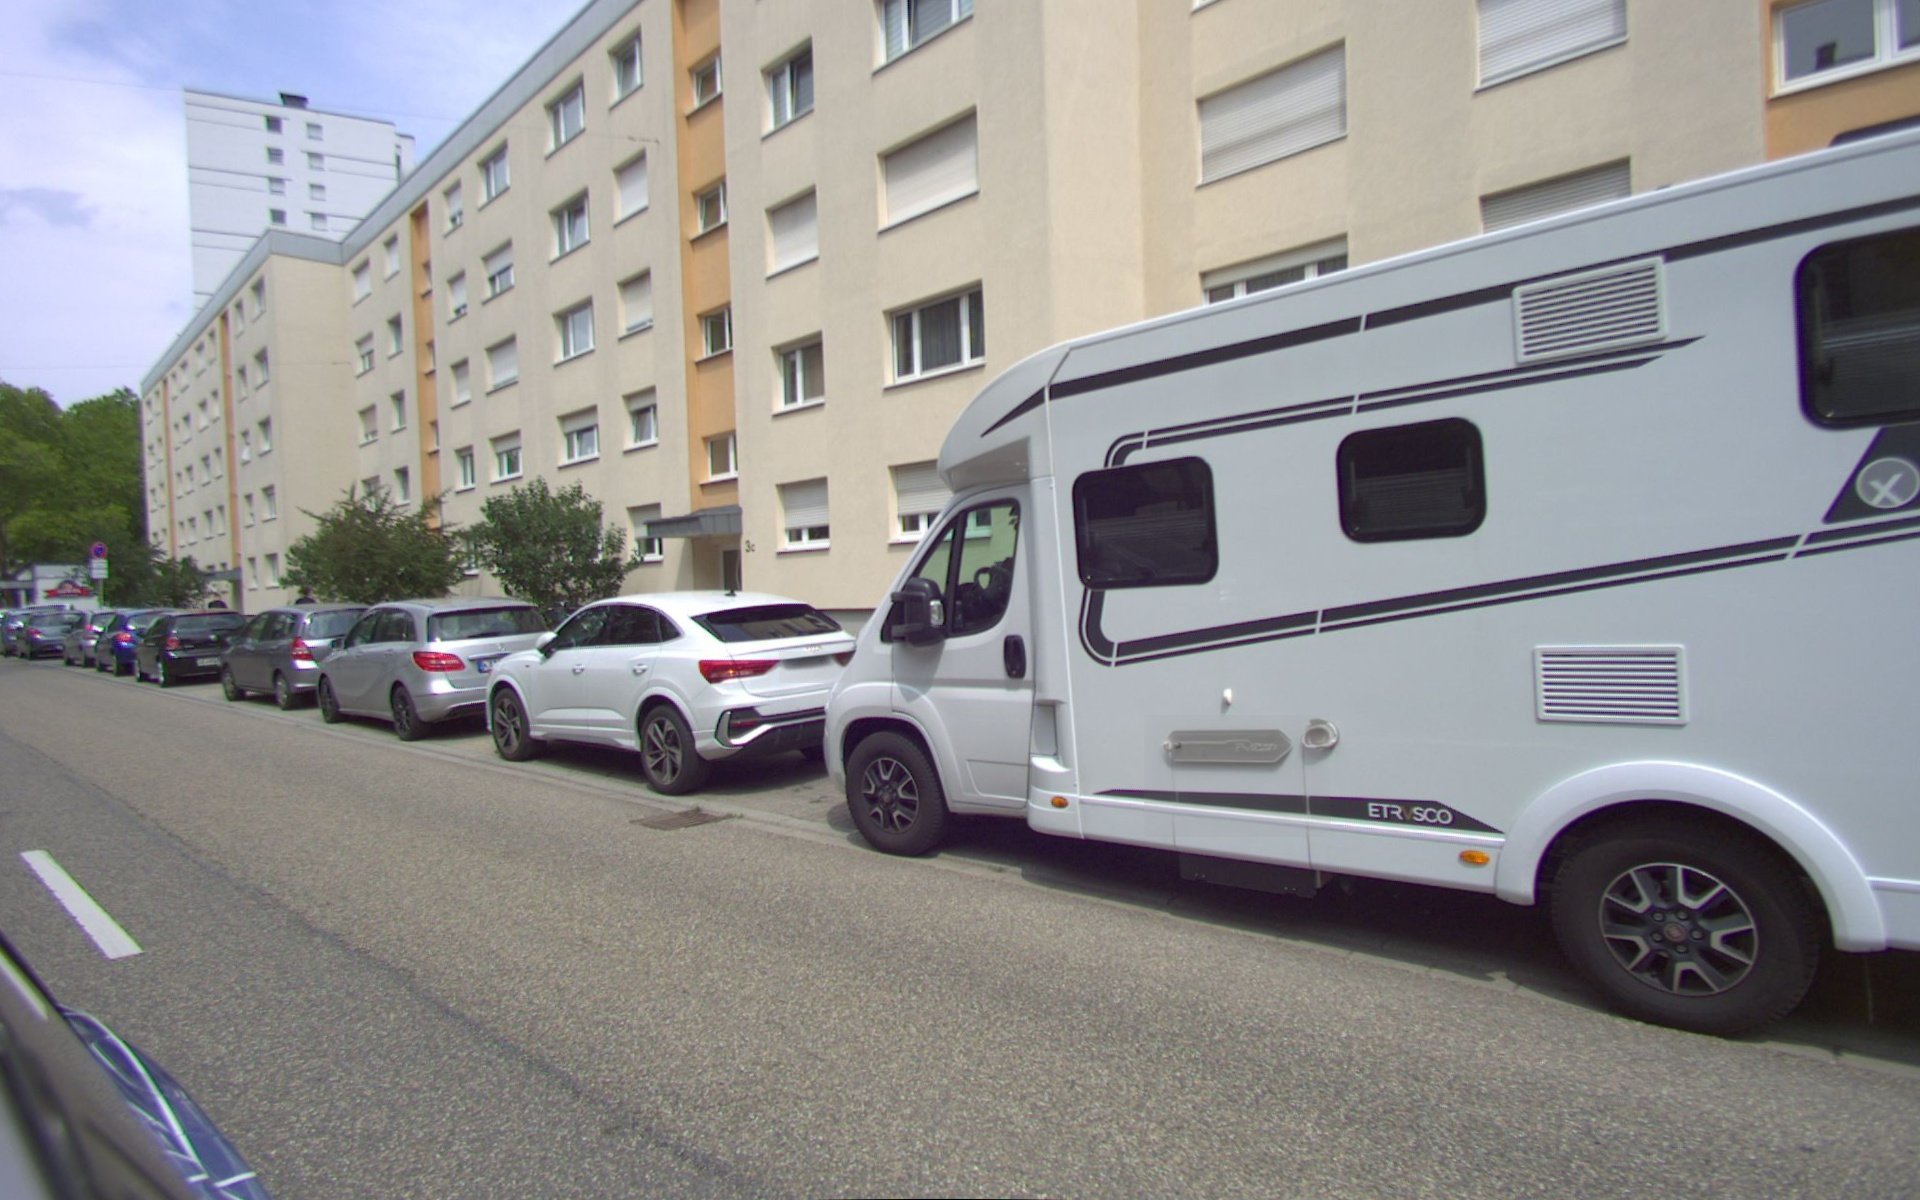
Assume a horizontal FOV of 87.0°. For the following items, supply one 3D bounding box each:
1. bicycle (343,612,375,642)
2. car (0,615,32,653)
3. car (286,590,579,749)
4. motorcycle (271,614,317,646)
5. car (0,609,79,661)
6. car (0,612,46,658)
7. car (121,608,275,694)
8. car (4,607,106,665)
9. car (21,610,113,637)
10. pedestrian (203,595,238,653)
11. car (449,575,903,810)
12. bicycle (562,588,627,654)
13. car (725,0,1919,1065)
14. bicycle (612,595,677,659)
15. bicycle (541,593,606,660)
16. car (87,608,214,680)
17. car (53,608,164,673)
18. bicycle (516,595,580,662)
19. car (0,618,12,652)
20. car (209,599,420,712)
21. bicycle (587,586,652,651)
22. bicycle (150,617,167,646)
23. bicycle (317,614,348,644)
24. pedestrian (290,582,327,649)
[{"bbox_3d":[-21.172,0.951,35.628,1.673,0.993,0.435,-1,2,41],"label":"bicycle"},{"bbox_3d":[-41.071,1.458,43.085,3.985,1.484,1.692,-1,2,40],"label":"car"},{"bbox_3d":[-6.782,0.761,12.766,4.567,1.591,1.736,-1,2,42],"label":"car"},{"bbox_3d":[-22.470,1.003,34.124,2.316,0.993,0.655,-1,2,41],"label":"motorcycle"},{"bbox_3d":[-33.062,1.211,36.102,4.861,1.624,1.921,-1,2,43],"label":"car"},{"bbox_3d":[-37.285,1.358,39.478,4.472,1.624,1.681,-1,2,39],"label":"car"},{"bbox_3d":[-15.824,0.993,20.943,4.116,1.494,1.799,-1,2,43],"label":"car"},{"bbox_3d":[-29.126,1.120,32.534,4.300,1.624,1.922,-1,2,42],"label":"car"},{"bbox_3d":[-60.163,1.555,68.243,4.576,1.699,1.851,-1,-1,-43],"label":"car"},{"bbox_3d":[-23.926,0.767,32.748,0.898,1.826,0.613,-1,2,39],"label":"pedestrian"},{"bbox_3d":[-2.778,0.679,9.227,4.591,1.591,1.671,-1,2,41],"label":"car"},{"bbox_3d":[-8.350,0.482,23.069,2.130,1.436,0.457,-3,0,44],"label":"bicycle"},{"bbox_3d":[2.215,-0.255,4.786,7.392,3.046,2.485,-1,2,41],"label":"car"},{"bbox_3d":[-7.448,0.648,23.830,2.130,1.436,0.457,-3,0,44],"label":"bicycle"},{"bbox_3d":[-8.674,0.603,22.641,2.130,1.423,0.457,-3,0,44],"label":"bicycle"},{"bbox_3d":[-19.526,1.012,24.355,3.885,1.494,1.798,-1,2,43],"label":"car"},{"bbox_3d":[-23.406,1.068,27.765,3.849,1.573,1.653,-1,2,40],"label":"car"},{"bbox_3d":[-9.054,0.631,22.196,0.457,1.404,2.131,-2,0,-45],"label":"bicycle"},{"bbox_3d":[-44.634,1.637,46.149,3.989,1.484,1.690,-1,2,43],"label":"car"},{"bbox_3d":[-10.461,0.859,16.294,4.001,1.551,1.705,-3,0,40],"label":"car"},{"bbox_3d":[-7.919,0.445,23.494,2.130,1.436,0.457,-3,0,44],"label":"bicycle"},{"bbox_3d":[-37.051,1.450,46.796,0.571,1.260,1.937,-2,0,-38],"label":"bicycle"},{"bbox_3d":[-21.737,0.994,35.050,1.615,0.993,0.435,-1,2,41],"label":"bicycle"},{"bbox_3d":[-18.052,0.435,28.058,0.803,1.826,0.613,-1,0,39],"label":"pedestrian"}]
